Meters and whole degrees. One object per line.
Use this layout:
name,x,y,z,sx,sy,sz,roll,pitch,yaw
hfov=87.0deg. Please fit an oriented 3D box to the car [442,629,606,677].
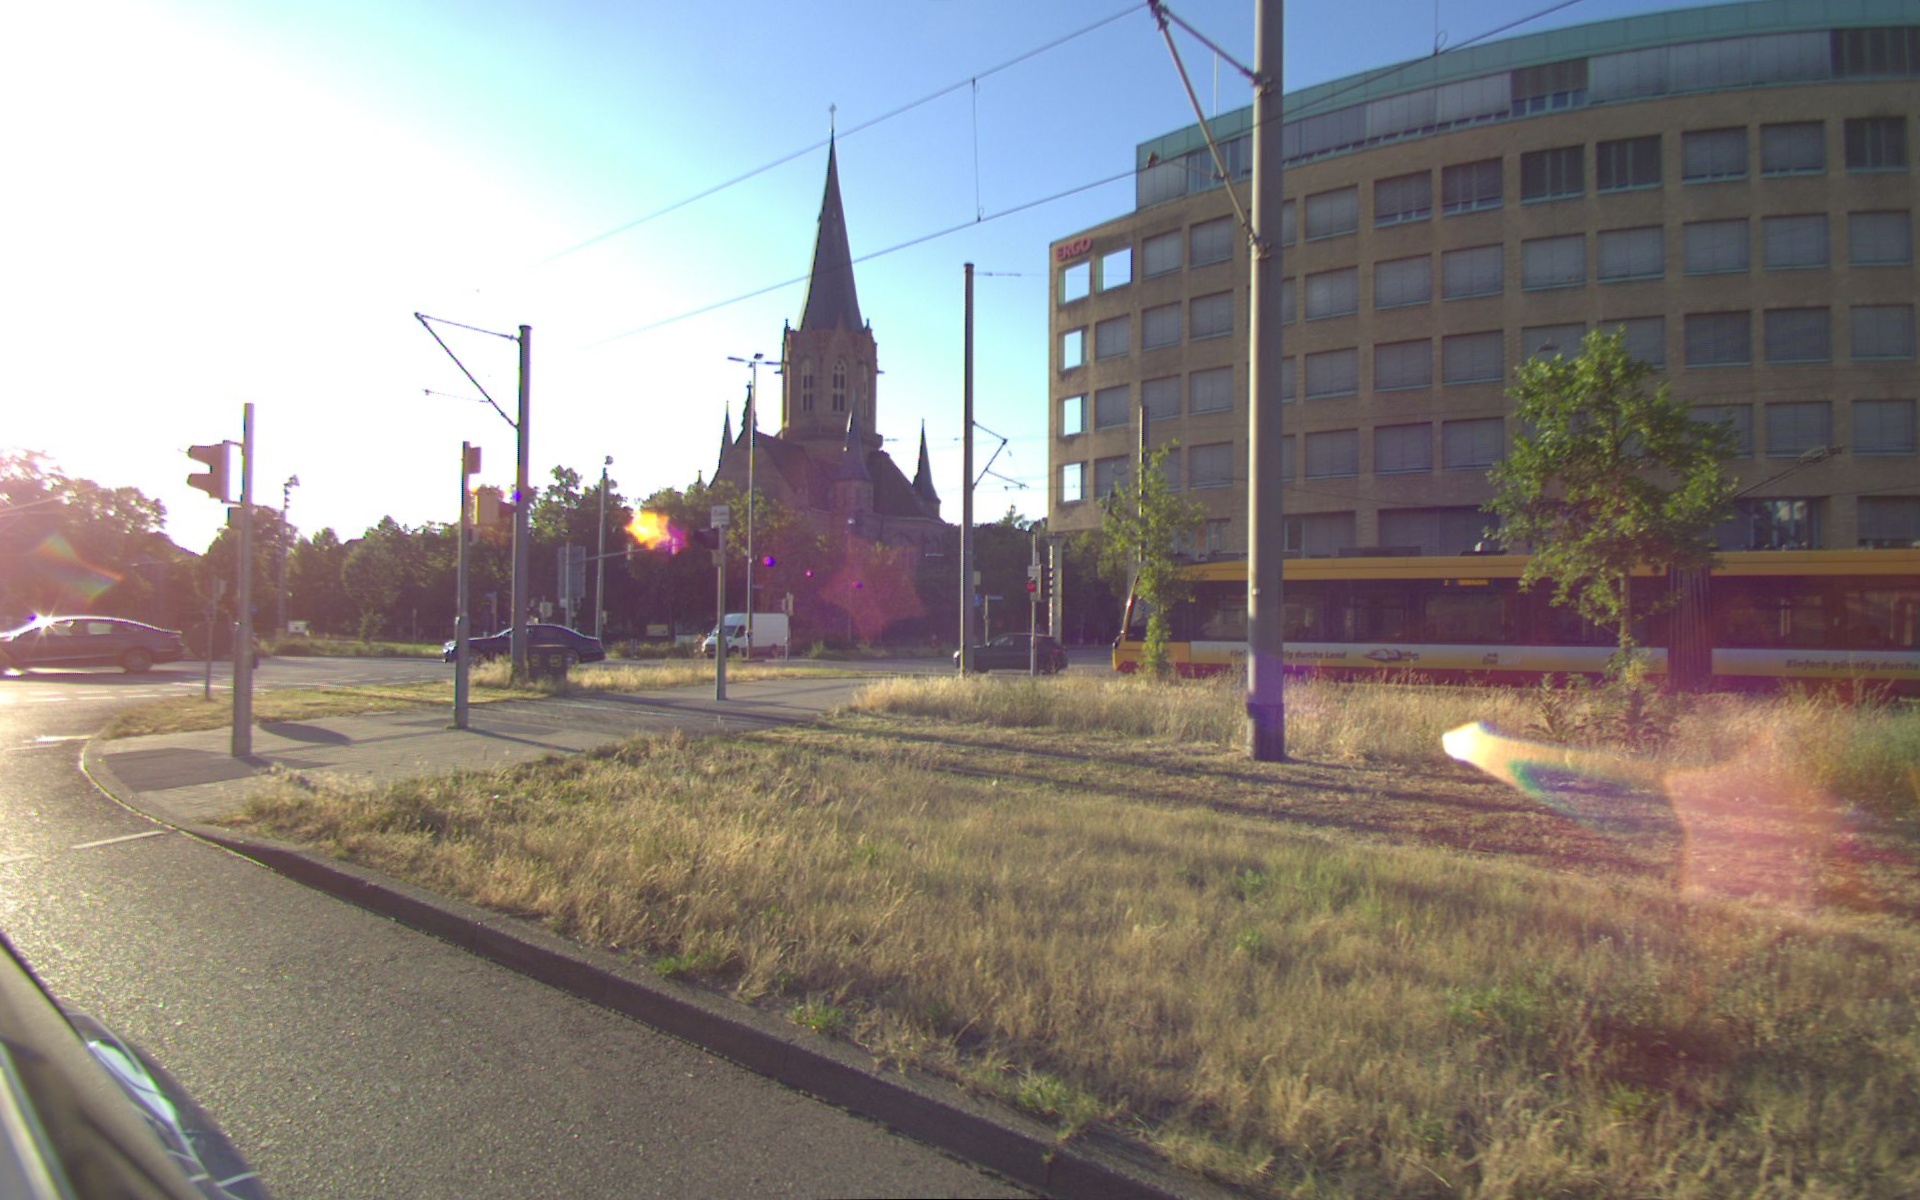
car,-14.593,1.773,34.096,4.939,1.519,1.730,0,-3,-22

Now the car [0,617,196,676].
car,-23.388,1.222,26.645,1.880,1.447,4.969,-1,-3,44

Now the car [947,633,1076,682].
car,1.749,1.939,34.682,3.978,1.554,1.983,-1,-2,26

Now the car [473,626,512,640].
car,-60.258,4.233,130.496,4.071,1.836,2.001,0,-1,-3

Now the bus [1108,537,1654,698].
bus,10.163,0.514,26.026,12.058,3.482,3.730,-1,-2,24

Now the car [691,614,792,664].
car,-13.306,2.408,62.285,2.295,2.900,7.141,-1,-2,25

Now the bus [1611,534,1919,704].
bus,20.532,0.392,21.474,10.664,3.356,3.733,-1,-2,22

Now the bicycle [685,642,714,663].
bicycle,-15.979,3.225,62.117,0.488,1.191,1.953,-1,-2,28

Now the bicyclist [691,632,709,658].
bicyclist,-15.973,2.784,62.188,0.819,1.580,0.726,-1,-2,29
